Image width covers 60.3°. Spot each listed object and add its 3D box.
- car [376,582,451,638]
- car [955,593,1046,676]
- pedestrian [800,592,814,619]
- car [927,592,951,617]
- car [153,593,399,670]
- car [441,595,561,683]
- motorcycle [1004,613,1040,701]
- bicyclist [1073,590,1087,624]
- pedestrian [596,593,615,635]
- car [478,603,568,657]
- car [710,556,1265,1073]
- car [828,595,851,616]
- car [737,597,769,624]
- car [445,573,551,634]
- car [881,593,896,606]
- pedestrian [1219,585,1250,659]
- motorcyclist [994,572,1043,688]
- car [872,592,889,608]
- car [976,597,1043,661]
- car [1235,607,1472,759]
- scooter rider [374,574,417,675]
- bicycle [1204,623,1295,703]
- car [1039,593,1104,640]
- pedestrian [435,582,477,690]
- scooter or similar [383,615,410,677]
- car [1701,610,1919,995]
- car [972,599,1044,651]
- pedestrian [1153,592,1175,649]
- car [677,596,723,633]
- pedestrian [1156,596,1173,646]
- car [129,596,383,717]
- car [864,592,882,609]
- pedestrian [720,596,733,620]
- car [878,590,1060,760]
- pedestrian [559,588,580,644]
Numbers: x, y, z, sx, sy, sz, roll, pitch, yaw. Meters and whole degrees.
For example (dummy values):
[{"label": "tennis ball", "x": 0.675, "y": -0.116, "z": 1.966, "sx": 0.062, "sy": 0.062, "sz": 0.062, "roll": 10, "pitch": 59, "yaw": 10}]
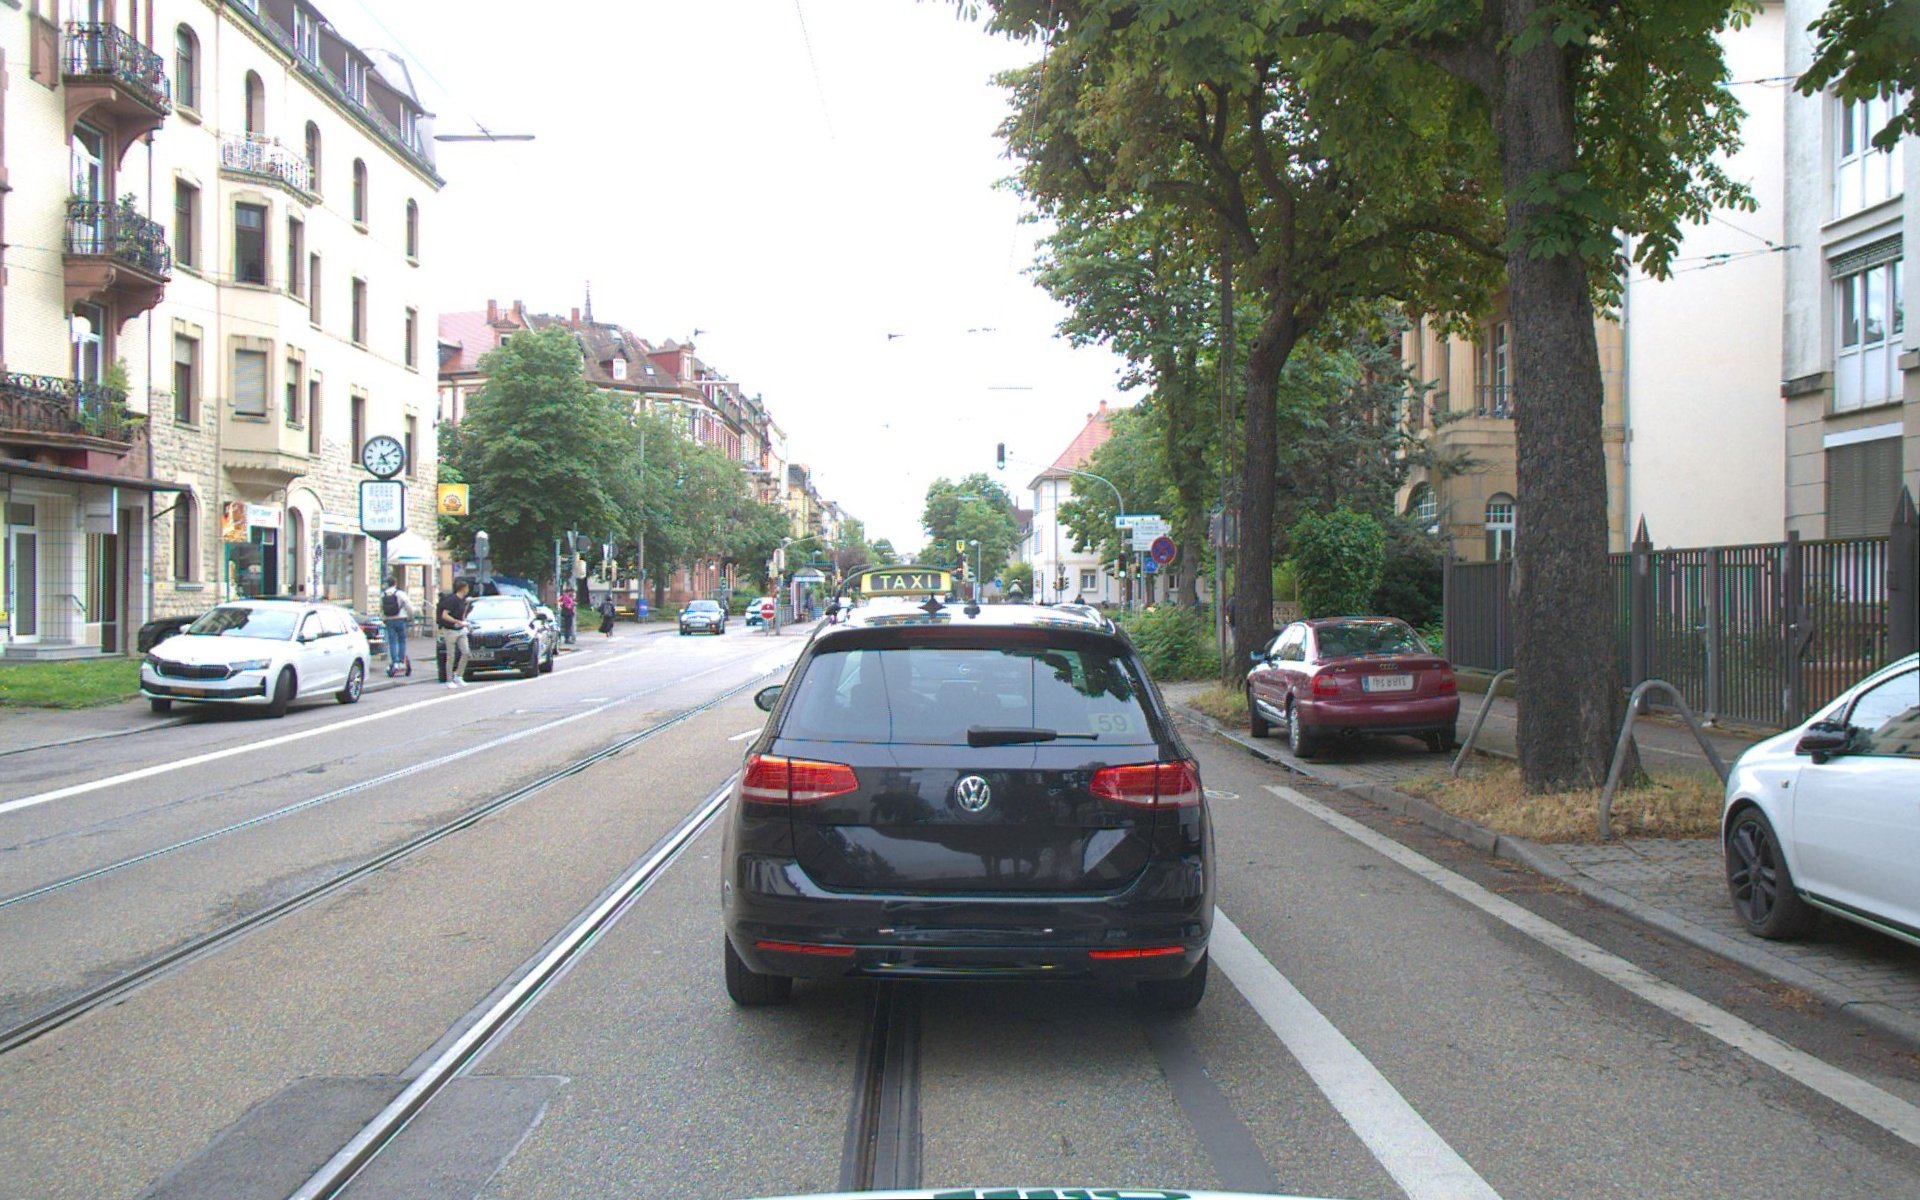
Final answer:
[{"label": "car", "x": -25.920, "y": 0.452, "z": 78.296, "sx": 2.158, "sy": 2.571, "sz": 5.320, "roll": 0, "pitch": 0, "yaw": -32}, {"label": "car", "x": 0.770, "y": 0.645, "z": 33.448, "sx": 1.688, "sy": 1.573, "sz": 3.999, "roll": 0, "pitch": 0, "yaw": -1}, {"label": "pedestrian", "x": -8.603, "y": 0.313, "z": 92.865, "sx": 0.699, "sy": 1.547, "sz": 0.590, "roll": 0, "pitch": 0, "yaw": 1}, {"label": "car", "x": -1.748, "y": 0.360, "z": 139.705, "sx": 1.991, "sy": 2.049, "sz": 3.999, "roll": 1, "pitch": -1, "yaw": -1}, {"label": "car", "x": -14.249, "y": 0.650, "z": 34.674, "sx": 4.340, "sy": 1.394, "sz": 1.878, "roll": 2, "pitch": 0, "yaw": -6}, {"label": "car", "x": -9.579, "y": 0.762, "z": 34.869, "sx": 1.848, "sy": 1.640, "sz": 4.876, "roll": -3, "pitch": 0, "yaw": -9}, {"label": "motorcycle", "x": 0.922, "y": 0.833, "z": 24.923, "sx": 0.437, "sy": 1.257, "sz": 1.906, "roll": 0, "pitch": 0, "yaw": -1}, {"label": "bicyclist", "x": 5.658, "y": 0.346, "z": 78.016, "sx": 0.637, "sy": 1.596, "sz": 0.696, "roll": 0, "pitch": 0, "yaw": 6}, {"label": "pedestrian", "x": -14.288, "y": 0.552, "z": 66.685, "sx": 0.577, "sy": 1.692, "sz": 0.839, "roll": 0, "pitch": 0, "yaw": -2}, {"label": "car", "x": -12.464, "y": 0.833, "z": 47.388, "sx": 1.616, "sy": 1.385, "sz": 4.127, "roll": 2, "pitch": 0, "yaw": -3}, {"label": "car", "x": 0.063, "y": 0.651, "z": 7.054, "sx": 1.688, "sy": 1.573, "sz": 3.999, "roll": 0, "pitch": 0, "yaw": -1}, {"label": "car", "x": -9.960, "y": 0.454, "z": 137.338, "sx": 1.686, "sy": 1.651, "sz": 3.862, "roll": 0, "pitch": 0, "yaw": -1}, {"label": "car", "x": -11.847, "y": 0.587, "z": 94.810, "sx": 1.666, "sy": 1.522, "sz": 3.925, "roll": -1, "pitch": 0, "yaw": -6}, {"label": "car", "x": -19.529, "y": 0.133, "z": 69.746, "sx": 2.168, "sy": 2.460, "sz": 5.295, "roll": 0, "pitch": 0, "yaw": -43}, {"label": "car", "x": -8.435, "y": -0.031, "z": 195.170, "sx": 1.686, "sy": 1.490, "sz": 3.862, "roll": 0, "pitch": 0, "yaw": -1}, {"label": "pedestrian", "x": 6.916, "y": 0.551, "z": 41.668, "sx": 0.619, "sy": 1.846, "sz": 0.726, "roll": 0, "pitch": 0, "yaw": -3}, {"label": "motorcyclist", "x": 0.882, "y": 0.442, "z": 25.007, "sx": 0.688, "sy": 1.722, "sz": 0.804, "roll": 0, "pitch": 0, "yaw": -1}, {"label": "car", "x": -8.444, "y": -0.032, "z": 176.432, "sx": 1.686, "sy": 1.651, "sz": 3.862, "roll": 0, "pitch": 0, "yaw": -1}, {"label": "car", "x": 1.261, "y": 0.737, "z": 43.302, "sx": 1.574, "sy": 1.583, "sz": 3.577, "roll": 1, "pitch": 0, "yaw": -1}, {"label": "car", "x": 4.270, "y": 0.833, "z": 18.578, "sx": 1.569, "sy": 1.423, "sz": 4.226, "roll": -2, "pitch": 0, "yaw": -1}, {"label": "scooter rider", "x": -11.639, "y": 0.501, "z": 34.107, "sx": 0.629, "sy": 2.049, "sz": 0.757, "roll": 0, "pitch": 0, "yaw": -1}, {"label": "bicycle", "x": 4.576, "y": 0.978, "z": 26.034, "sx": 0.426, "sy": 1.219, "sz": 1.891, "roll": 0, "pitch": -1, "yaw": 44}, {"label": "car", "x": 3.958, "y": 0.598, "z": 59.275, "sx": 1.953, "sy": 1.605, "sz": 3.999, "roll": 1, "pitch": 0, "yaw": -1}, {"label": "pedestrian", "x": -8.906, "y": 0.623, "z": 29.204, "sx": 0.658, "sy": 1.876, "sz": 0.877, "roll": -1, "pitch": 0, "yaw": -20}, {"label": "scooter or similar", "x": -11.604, "y": 0.942, "z": 34.067, "sx": 0.226, "sy": 1.256, "sz": 0.953, "roll": 0, "pitch": 0, "yaw": -1}, {"label": "car", "x": 4.553, "y": 0.800, "z": 6.481, "sx": 1.569, "sy": 1.460, "sz": 3.776, "roll": -2, "pitch": 0, "yaw": 0}, {"label": "car", "x": 1.457, "y": 0.704, "z": 48.937, "sx": 1.852, "sy": 1.432, "sz": 4.003, "roll": -1, "pitch": 0, "yaw": 5}, {"label": "pedestrian", "x": 6.825, "y": 0.666, "z": 55.320, "sx": 0.573, "sy": 1.863, "sz": 0.604, "roll": -3, "pitch": 0, "yaw": -2}, {"label": "car", "x": -10.836, "y": 0.595, "z": 69.068, "sx": 1.576, "sy": 1.447, "sz": 3.484, "roll": -1, "pitch": 0, "yaw": -4}, {"label": "pedestrian", "x": 7.737, "y": 0.783, "z": 62.497, "sx": 0.503, "sy": 1.863, "sz": 0.418, "roll": -3, "pitch": 0, "yaw": 15}, {"label": "car", "x": -9.728, "y": 0.714, "z": 23.268, "sx": 1.712, "sy": 1.510, "sz": 4.607, "roll": 0, "pitch": 0, "yaw": -2}, {"label": "car", "x": -8.502, "y": 0.031, "z": 161.830, "sx": 1.686, "sy": 1.651, "sz": 3.862, "roll": 0, "pitch": 0, "yaw": -1}, {"label": "pedestrian", "x": -15.075, "y": 0.511, "z": 106.743, "sx": 0.577, "sy": 1.547, "sz": 0.647, "roll": 0, "pitch": 0, "yaw": 35}, {"label": "car", "x": 0.061, "y": 0.696, "z": 17.430, "sx": 1.688, "sy": 1.573, "sz": 3.999, "roll": 0, "pitch": 0, "yaw": -1}, {"label": "pedestrian", "x": -13.237, "y": 0.527, "z": 56.060, "sx": 0.610, "sy": 1.875, "sz": 0.609, "roll": 0, "pitch": 0, "yaw": -3}]
